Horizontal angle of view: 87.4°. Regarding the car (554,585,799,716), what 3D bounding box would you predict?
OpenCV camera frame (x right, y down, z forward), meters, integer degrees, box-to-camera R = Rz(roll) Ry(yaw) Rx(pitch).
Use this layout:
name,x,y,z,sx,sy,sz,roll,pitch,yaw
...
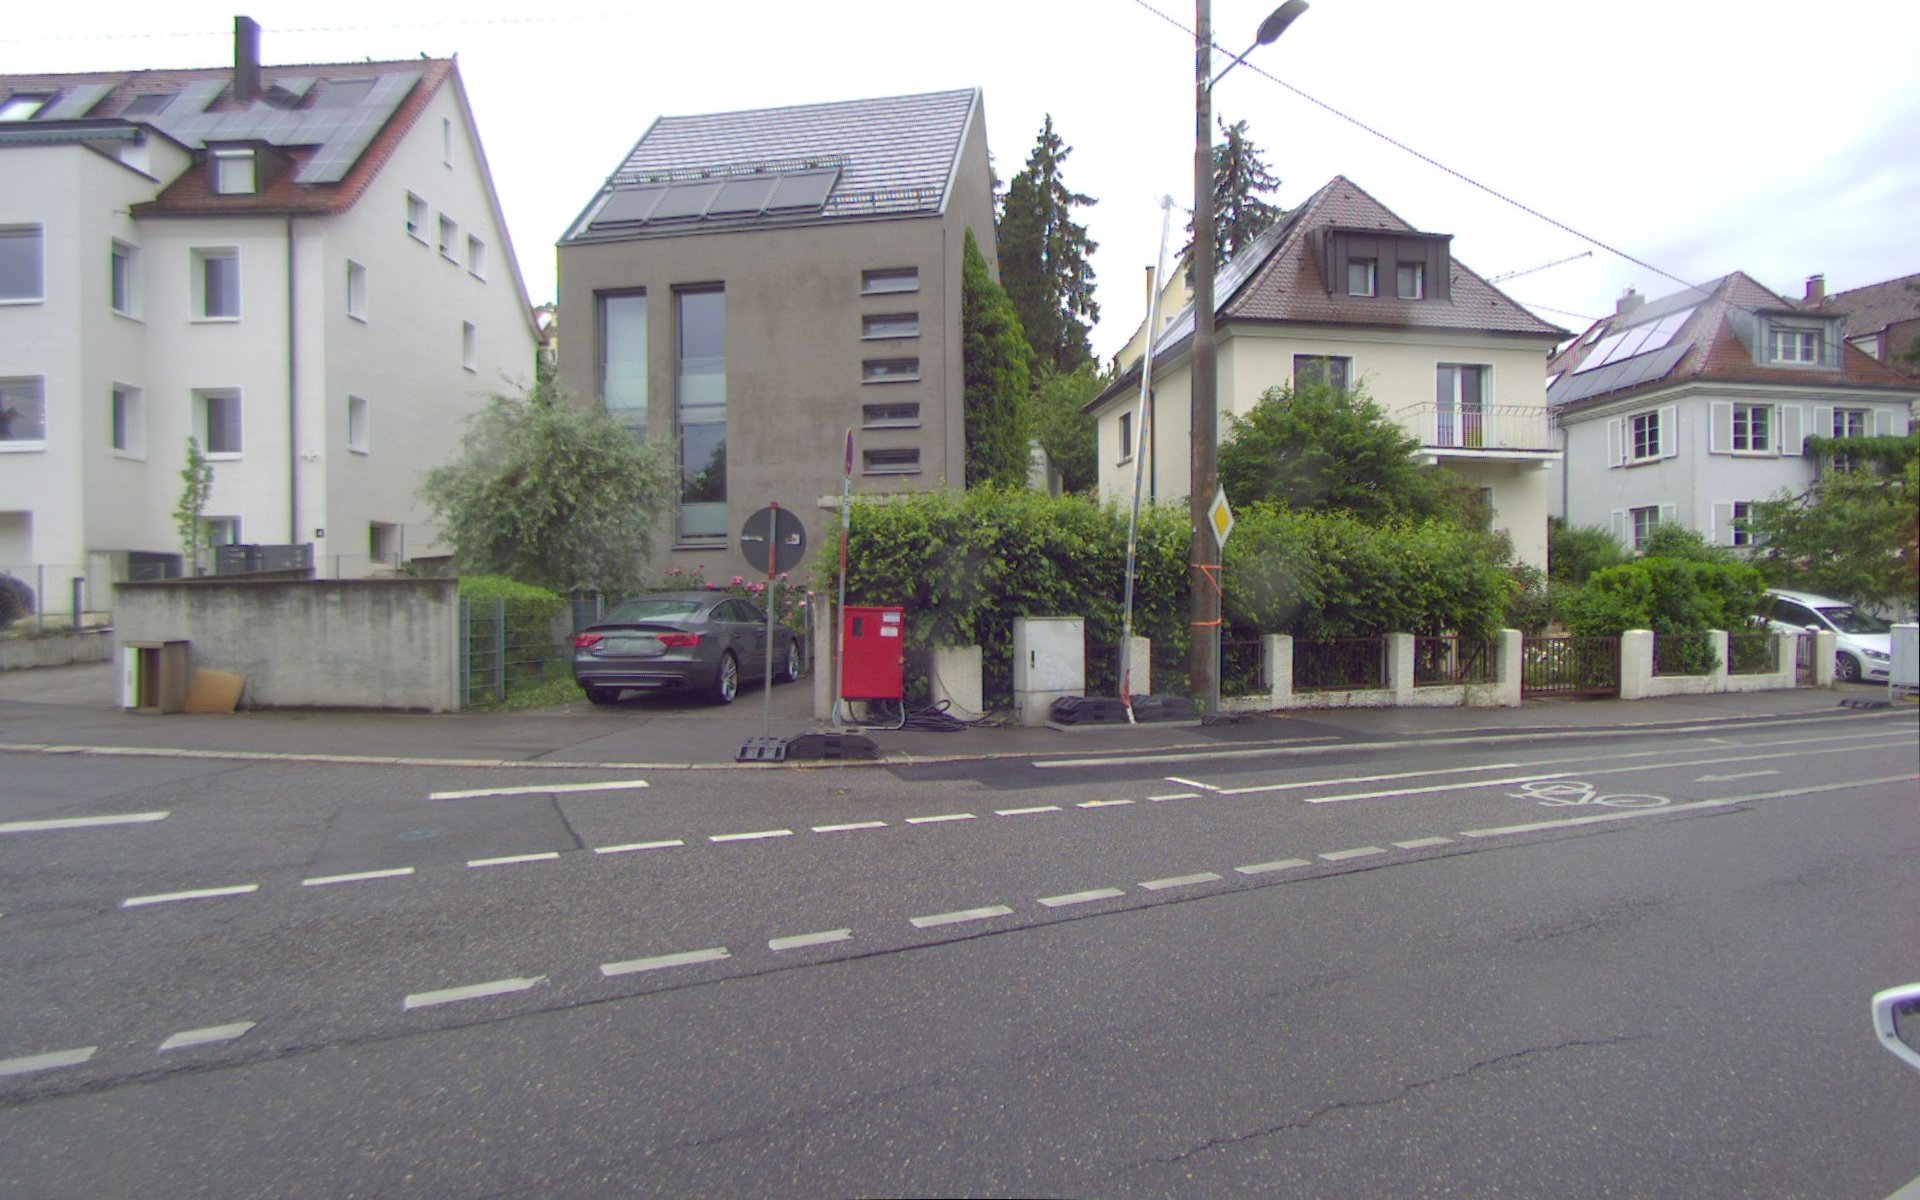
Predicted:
name,x,y,z,sx,sy,sz,roll,pitch,yaw
car,-3.602,0.556,13.582,1.740,1.506,4.002,0,1,7

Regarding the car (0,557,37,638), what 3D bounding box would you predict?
name,x,y,z,sx,sy,sz,roll,pitch,yaw
car,-16.726,0.044,15.175,1.576,1.298,4.008,2,4,6

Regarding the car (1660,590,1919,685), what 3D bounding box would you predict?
name,x,y,z,sx,sy,sz,roll,pitch,yaw
car,19.601,0.806,23.920,1.870,2.033,4.628,1,0,-18
